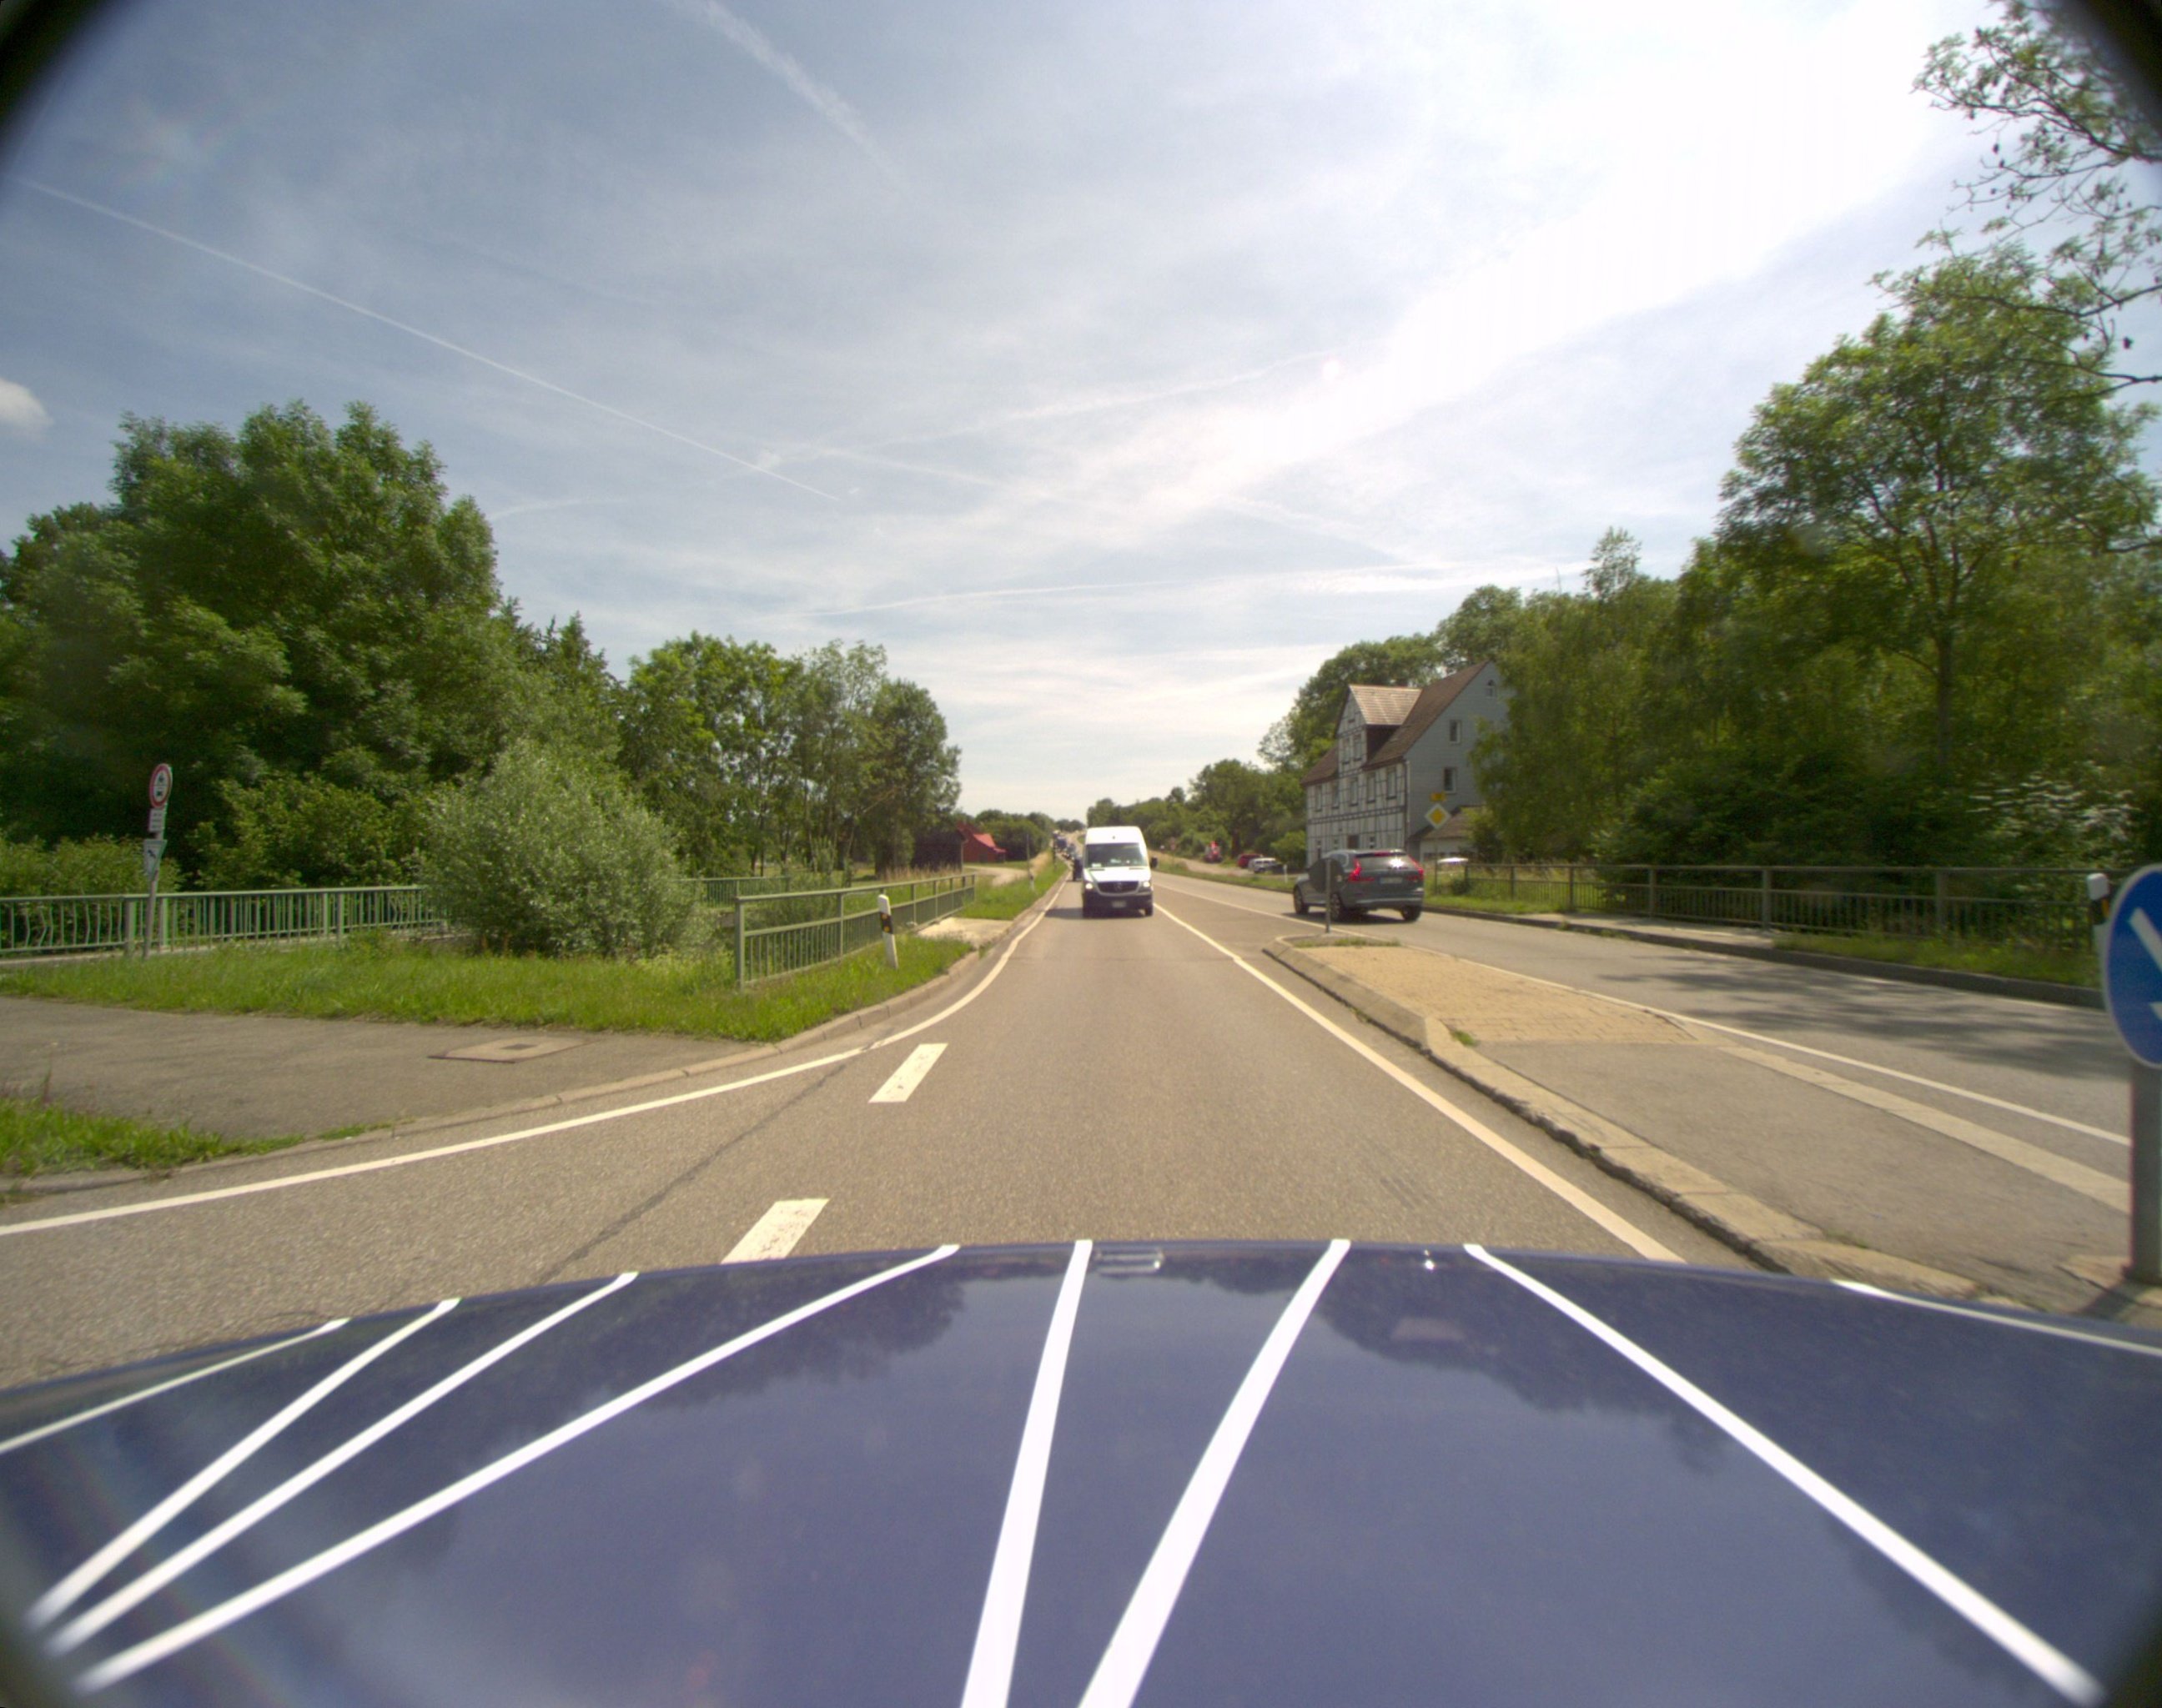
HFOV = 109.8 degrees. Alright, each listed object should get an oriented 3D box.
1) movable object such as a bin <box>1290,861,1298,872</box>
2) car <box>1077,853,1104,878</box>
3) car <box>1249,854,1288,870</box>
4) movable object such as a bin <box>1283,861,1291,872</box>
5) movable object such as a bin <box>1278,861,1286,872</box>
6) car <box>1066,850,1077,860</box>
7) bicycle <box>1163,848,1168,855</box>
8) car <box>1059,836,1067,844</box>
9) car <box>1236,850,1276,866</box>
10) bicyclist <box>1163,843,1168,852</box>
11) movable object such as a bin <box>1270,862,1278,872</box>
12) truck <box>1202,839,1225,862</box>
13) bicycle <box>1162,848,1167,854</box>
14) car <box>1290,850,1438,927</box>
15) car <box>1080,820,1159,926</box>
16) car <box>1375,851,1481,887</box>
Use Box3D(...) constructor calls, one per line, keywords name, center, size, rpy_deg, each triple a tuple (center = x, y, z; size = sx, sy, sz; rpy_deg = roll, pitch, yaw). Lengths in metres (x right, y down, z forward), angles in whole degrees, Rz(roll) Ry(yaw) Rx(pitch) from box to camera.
Box3D(name="movable object such as a bin", center=(20.272, 1.185, 72.462), size=(0.505, 0.971, 0.654), rpy_deg=(-2, 2, -8))
Box3D(name="car", center=(0.682, 0.845, 54.250), size=(1.848, 1.692, 4.243), rpy_deg=(0, -1, 0))
Box3D(name="car", center=(18.429, 0.749, 74.840), size=(3.387, 1.457, 1.609), rpy_deg=(-2, 1, -6))
Box3D(name="movable object such as a bin", center=(19.640, 1.195, 72.408), size=(0.505, 0.965, 0.654), rpy_deg=(-2, 2, -8))
Box3D(name="movable object such as a bin", center=(19.103, 1.205, 72.250), size=(0.505, 0.964, 0.654), rpy_deg=(-2, 2, -8))
Box3D(name="car", center=(-1.826, 0.110, 141.284), size=(1.849, 1.692, 4.240), rpy_deg=(-1, 2, -2))
Box3D(name="bicycle", center=(15.615, -0.520, 140.481), size=(0.750, 1.174, 2.105), rpy_deg=(-2, 1, 2))
Box3D(name="car", center=(-4.884, -3.870, 211.641), size=(1.998, 2.166, 4.000), rpy_deg=(-2, 1, 1))
Box3D(name="car", center=(19.498, 0.452, 84.849), size=(4.037, 1.609, 1.833), rpy_deg=(-2, 1, 1))
Box3D(name="bicyclist", center=(15.596, -1.170, 140.518), size=(0.750, 1.705, 0.936), rpy_deg=(-2, 1, 2))
Box3D(name="movable object such as a bin", center=(18.350, 1.261, 72.329), size=(0.505, 0.931, 0.654), rpy_deg=(-2, 2, -8))
Box3D(name="truck", center=(18.372, -0.520, 105.678), size=(2.031, 2.947, 6.772), rpy_deg=(-2, 1, 1))
Box3D(name="bicycle", center=(15.839, -0.570, 144.104), size=(0.750, 1.205, 2.104), rpy_deg=(-2, 1, 0))
Box3D(name="car", center=(6.699, 0.757, 18.570), size=(1.953, 1.644, 4.432), rpy_deg=(-1, 0, 0))
Box3D(name="car", center=(0.972, 0.492, 22.015), size=(1.960, 2.655, 5.680), rpy_deg=(-1, 0, 0))
Box3D(name="car", center=(18.037, 0.780, 39.609), size=(4.676, 1.710, 1.861), rpy_deg=(-2, -2, -4))
